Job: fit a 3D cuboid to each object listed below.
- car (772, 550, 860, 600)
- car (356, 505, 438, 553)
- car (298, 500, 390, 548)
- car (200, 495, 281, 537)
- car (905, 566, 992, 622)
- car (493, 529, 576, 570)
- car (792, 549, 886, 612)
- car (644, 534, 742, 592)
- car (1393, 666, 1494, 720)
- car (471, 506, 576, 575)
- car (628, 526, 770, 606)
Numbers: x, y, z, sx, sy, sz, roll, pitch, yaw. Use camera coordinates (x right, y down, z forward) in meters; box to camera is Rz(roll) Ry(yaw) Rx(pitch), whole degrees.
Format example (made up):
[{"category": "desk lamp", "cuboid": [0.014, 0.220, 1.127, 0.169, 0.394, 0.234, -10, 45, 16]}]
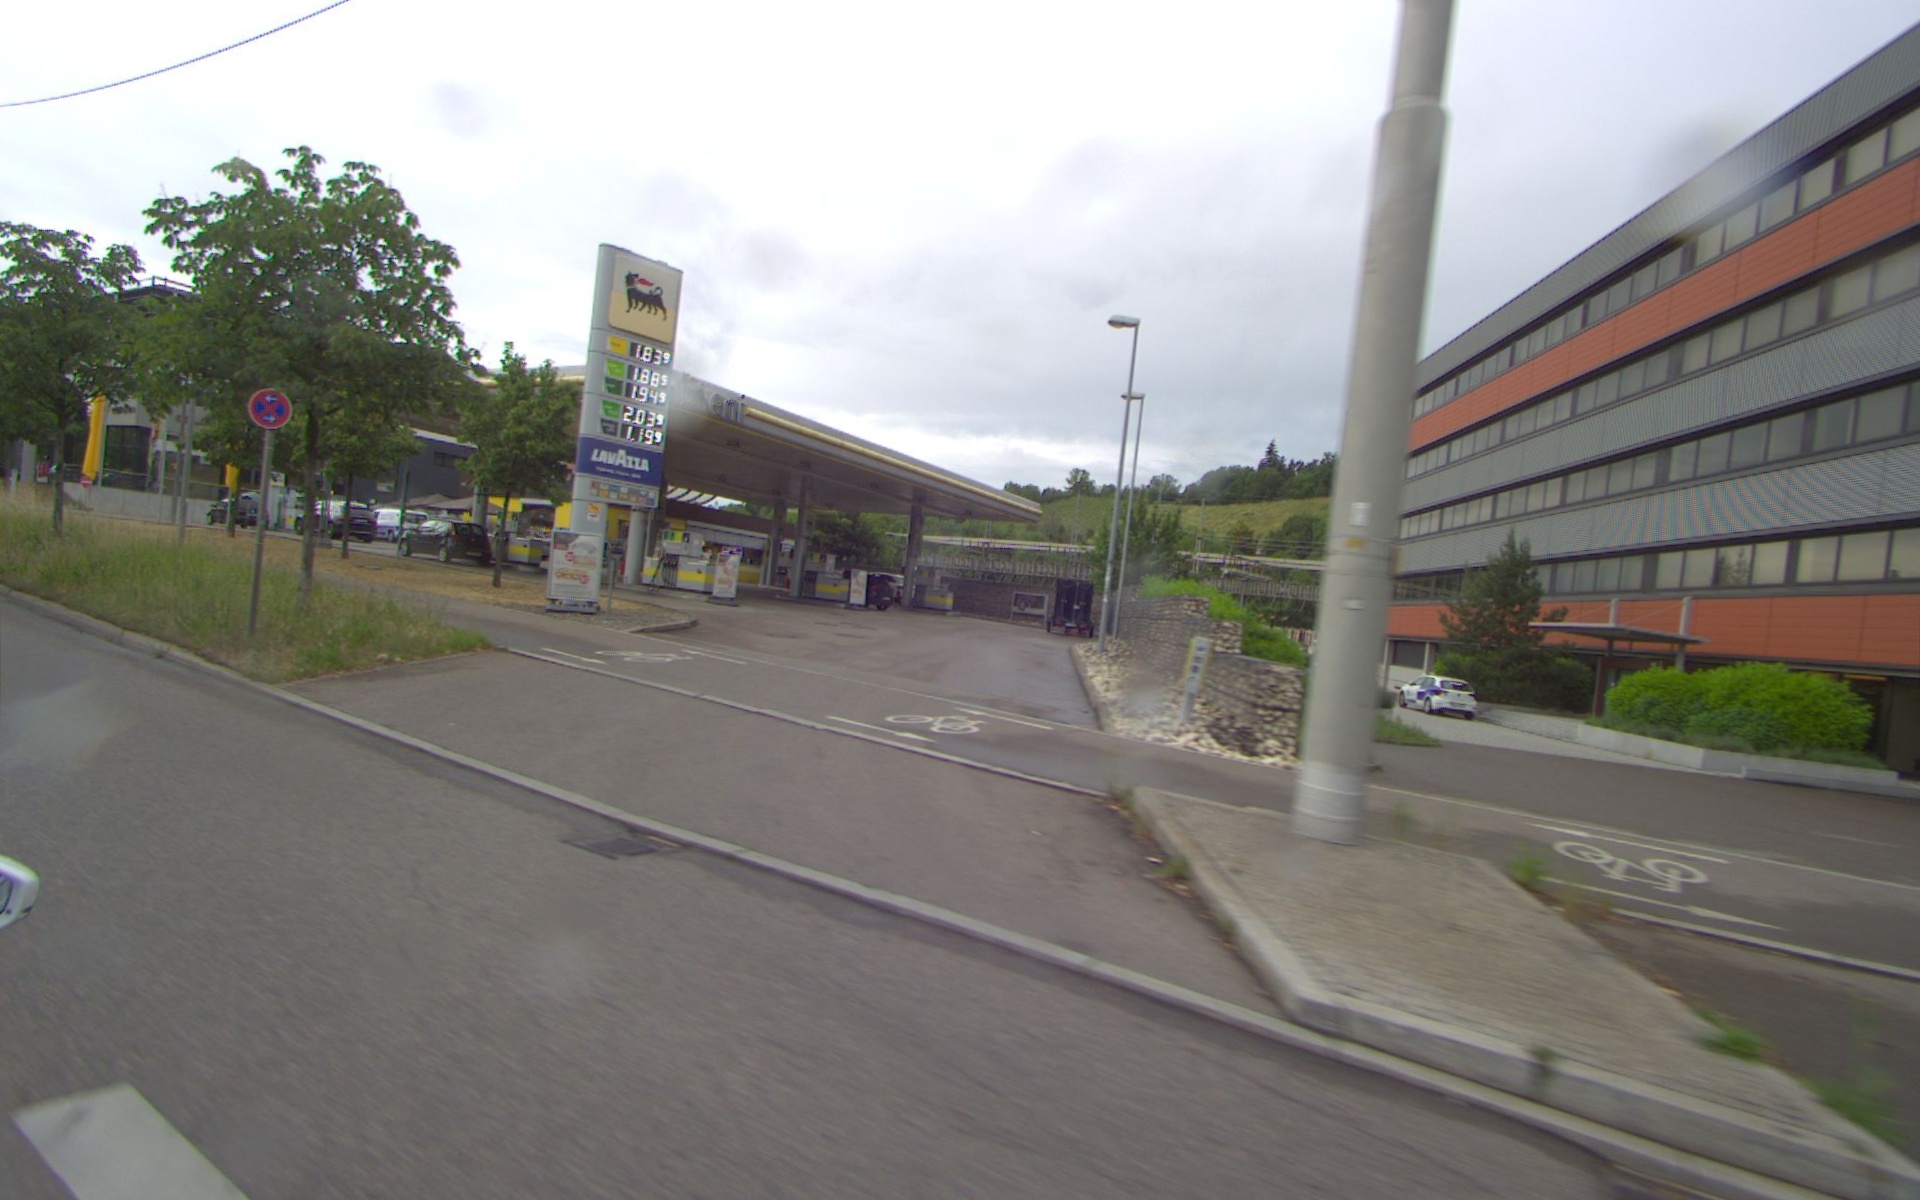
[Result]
[{"category": "car", "cuboid": [-7.442, -1.304, 52.029, 3.931, 2.037, 1.999, 7, -2, 29]}, {"category": "car", "cuboid": [-29.873, -3.777, 53.365, 3.934, 2.039, 1.995, 7, 1, 32]}, {"category": "car", "cuboid": [-28.452, -3.510, 46.424, 3.934, 1.749, 1.995, 7, 0, 32]}, {"category": "car", "cuboid": [-35.063, -4.099, 49.000, 3.934, 1.611, 1.793, 7, 0, 32]}, {"category": "car", "cuboid": [-0.554, -0.274, 47.251, 3.492, 2.138, 1.694, 7, -1, 29]}, {"category": "car", "cuboid": [-22.206, -2.615, 52.458, 3.934, 1.616, 1.995, 7, 0, 32]}, {"category": "car", "cuboid": [-4.735, -0.769, 39.300, 3.086, 2.037, 1.678, 7, -2, 33]}, {"category": "car", "cuboid": [-11.739, -1.635, 44.252, 3.709, 2.037, 1.875, 7, -2, 29]}, {"category": "car", "cuboid": [18.576, 3.546, 38.886, 1.963, 1.656, 4.004, 8, -2, 3]}, {"category": "car", "cuboid": [-15.793, -2.148, 36.342, 3.485, 2.037, 1.681, 7, -2, 34]}, {"category": "car", "cuboid": [-8.190, -1.074, 31.518, 3.934, 2.058, 1.994, 7, 1, 32]}]
